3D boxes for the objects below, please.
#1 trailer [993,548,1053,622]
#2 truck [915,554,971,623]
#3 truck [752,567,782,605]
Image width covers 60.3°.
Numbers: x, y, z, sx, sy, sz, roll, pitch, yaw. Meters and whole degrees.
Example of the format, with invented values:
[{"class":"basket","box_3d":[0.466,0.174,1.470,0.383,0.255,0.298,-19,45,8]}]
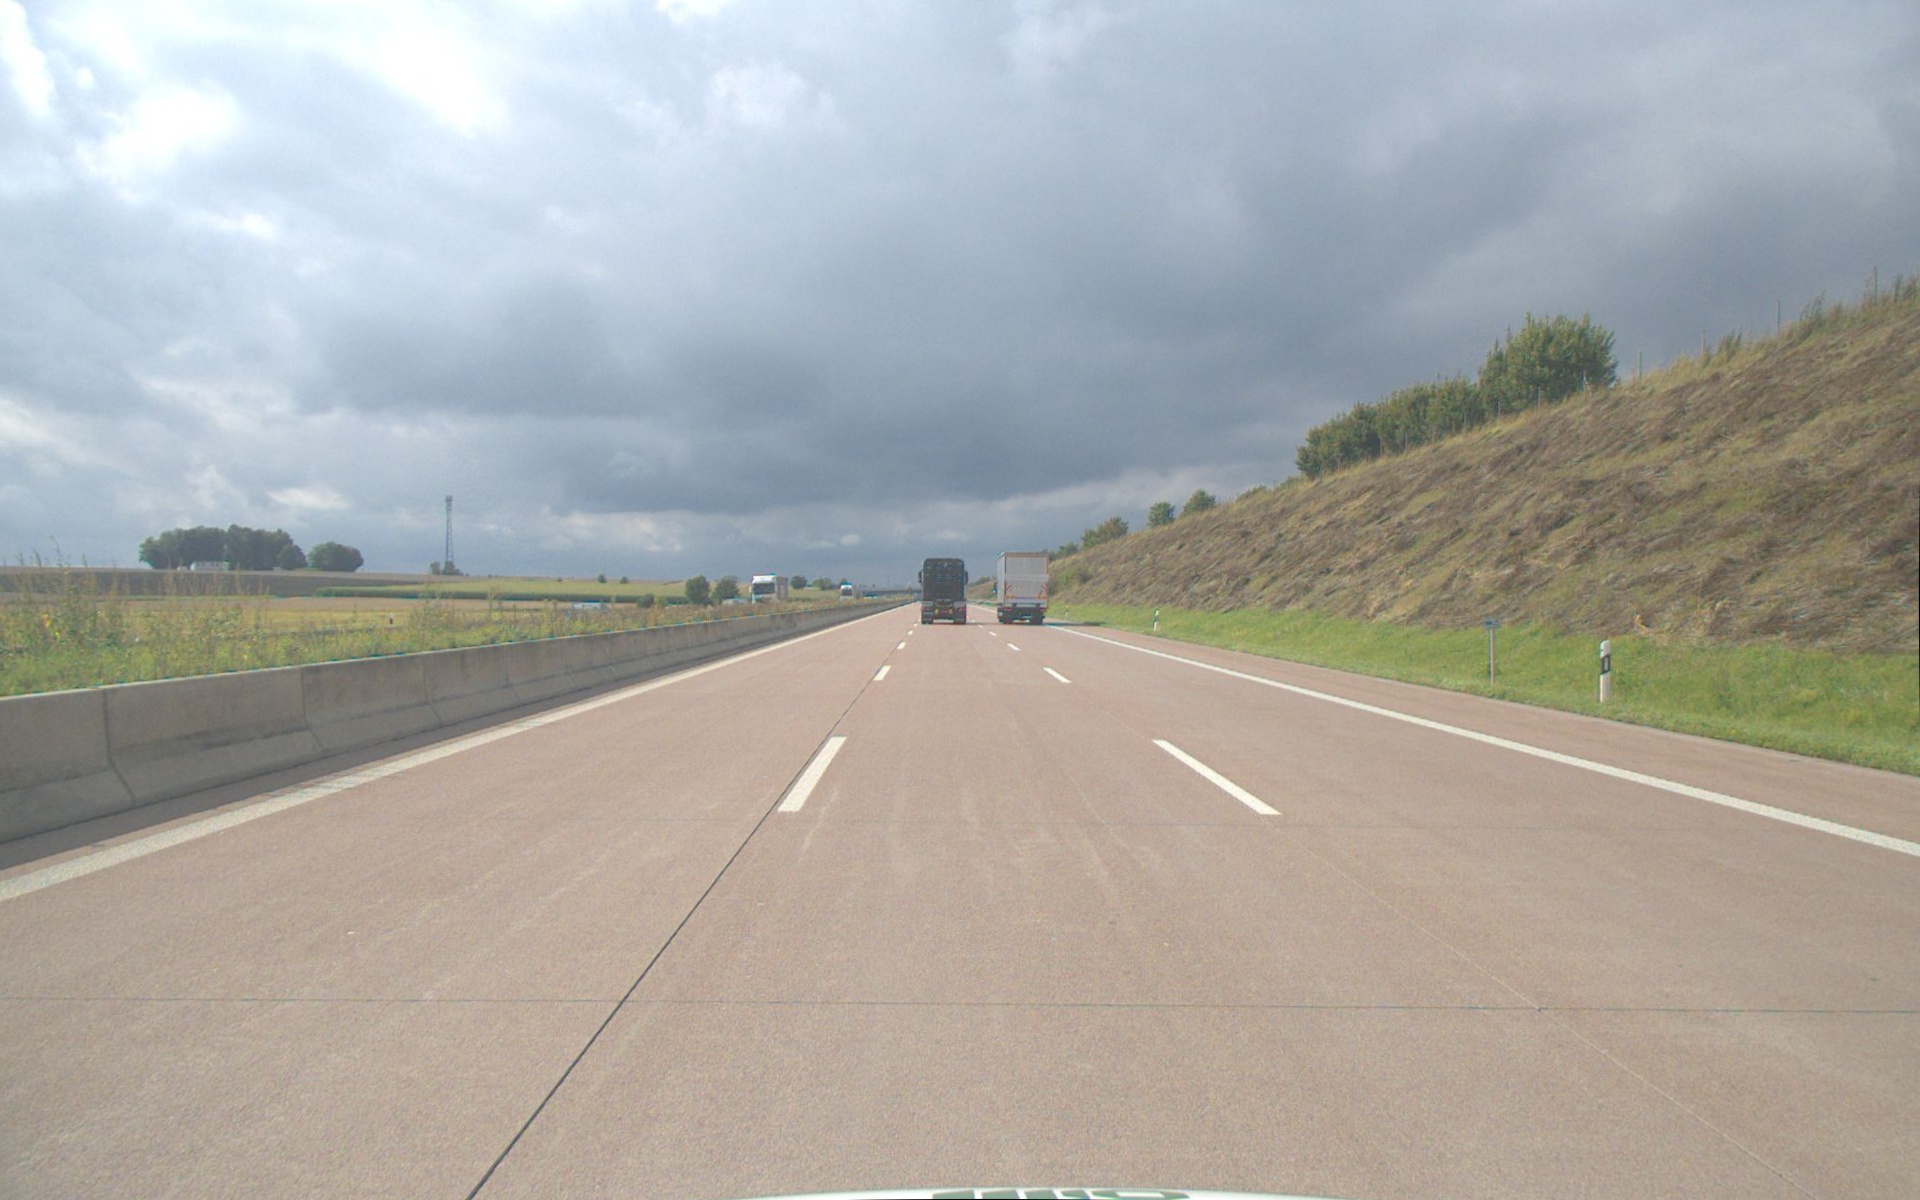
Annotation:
[{"class":"trailer","box_3d":[3.571,-0.807,95.787,2.692,4.082,8.665,1,0,-3]},{"class":"truck","box_3d":[-1.006,-0.592,92.160,2.790,3.612,8.315,1,0,-2]},{"class":"truck","box_3d":[-20.760,-1.531,178.487,2.714,4.028,5.288,-1,0,-2]}]
